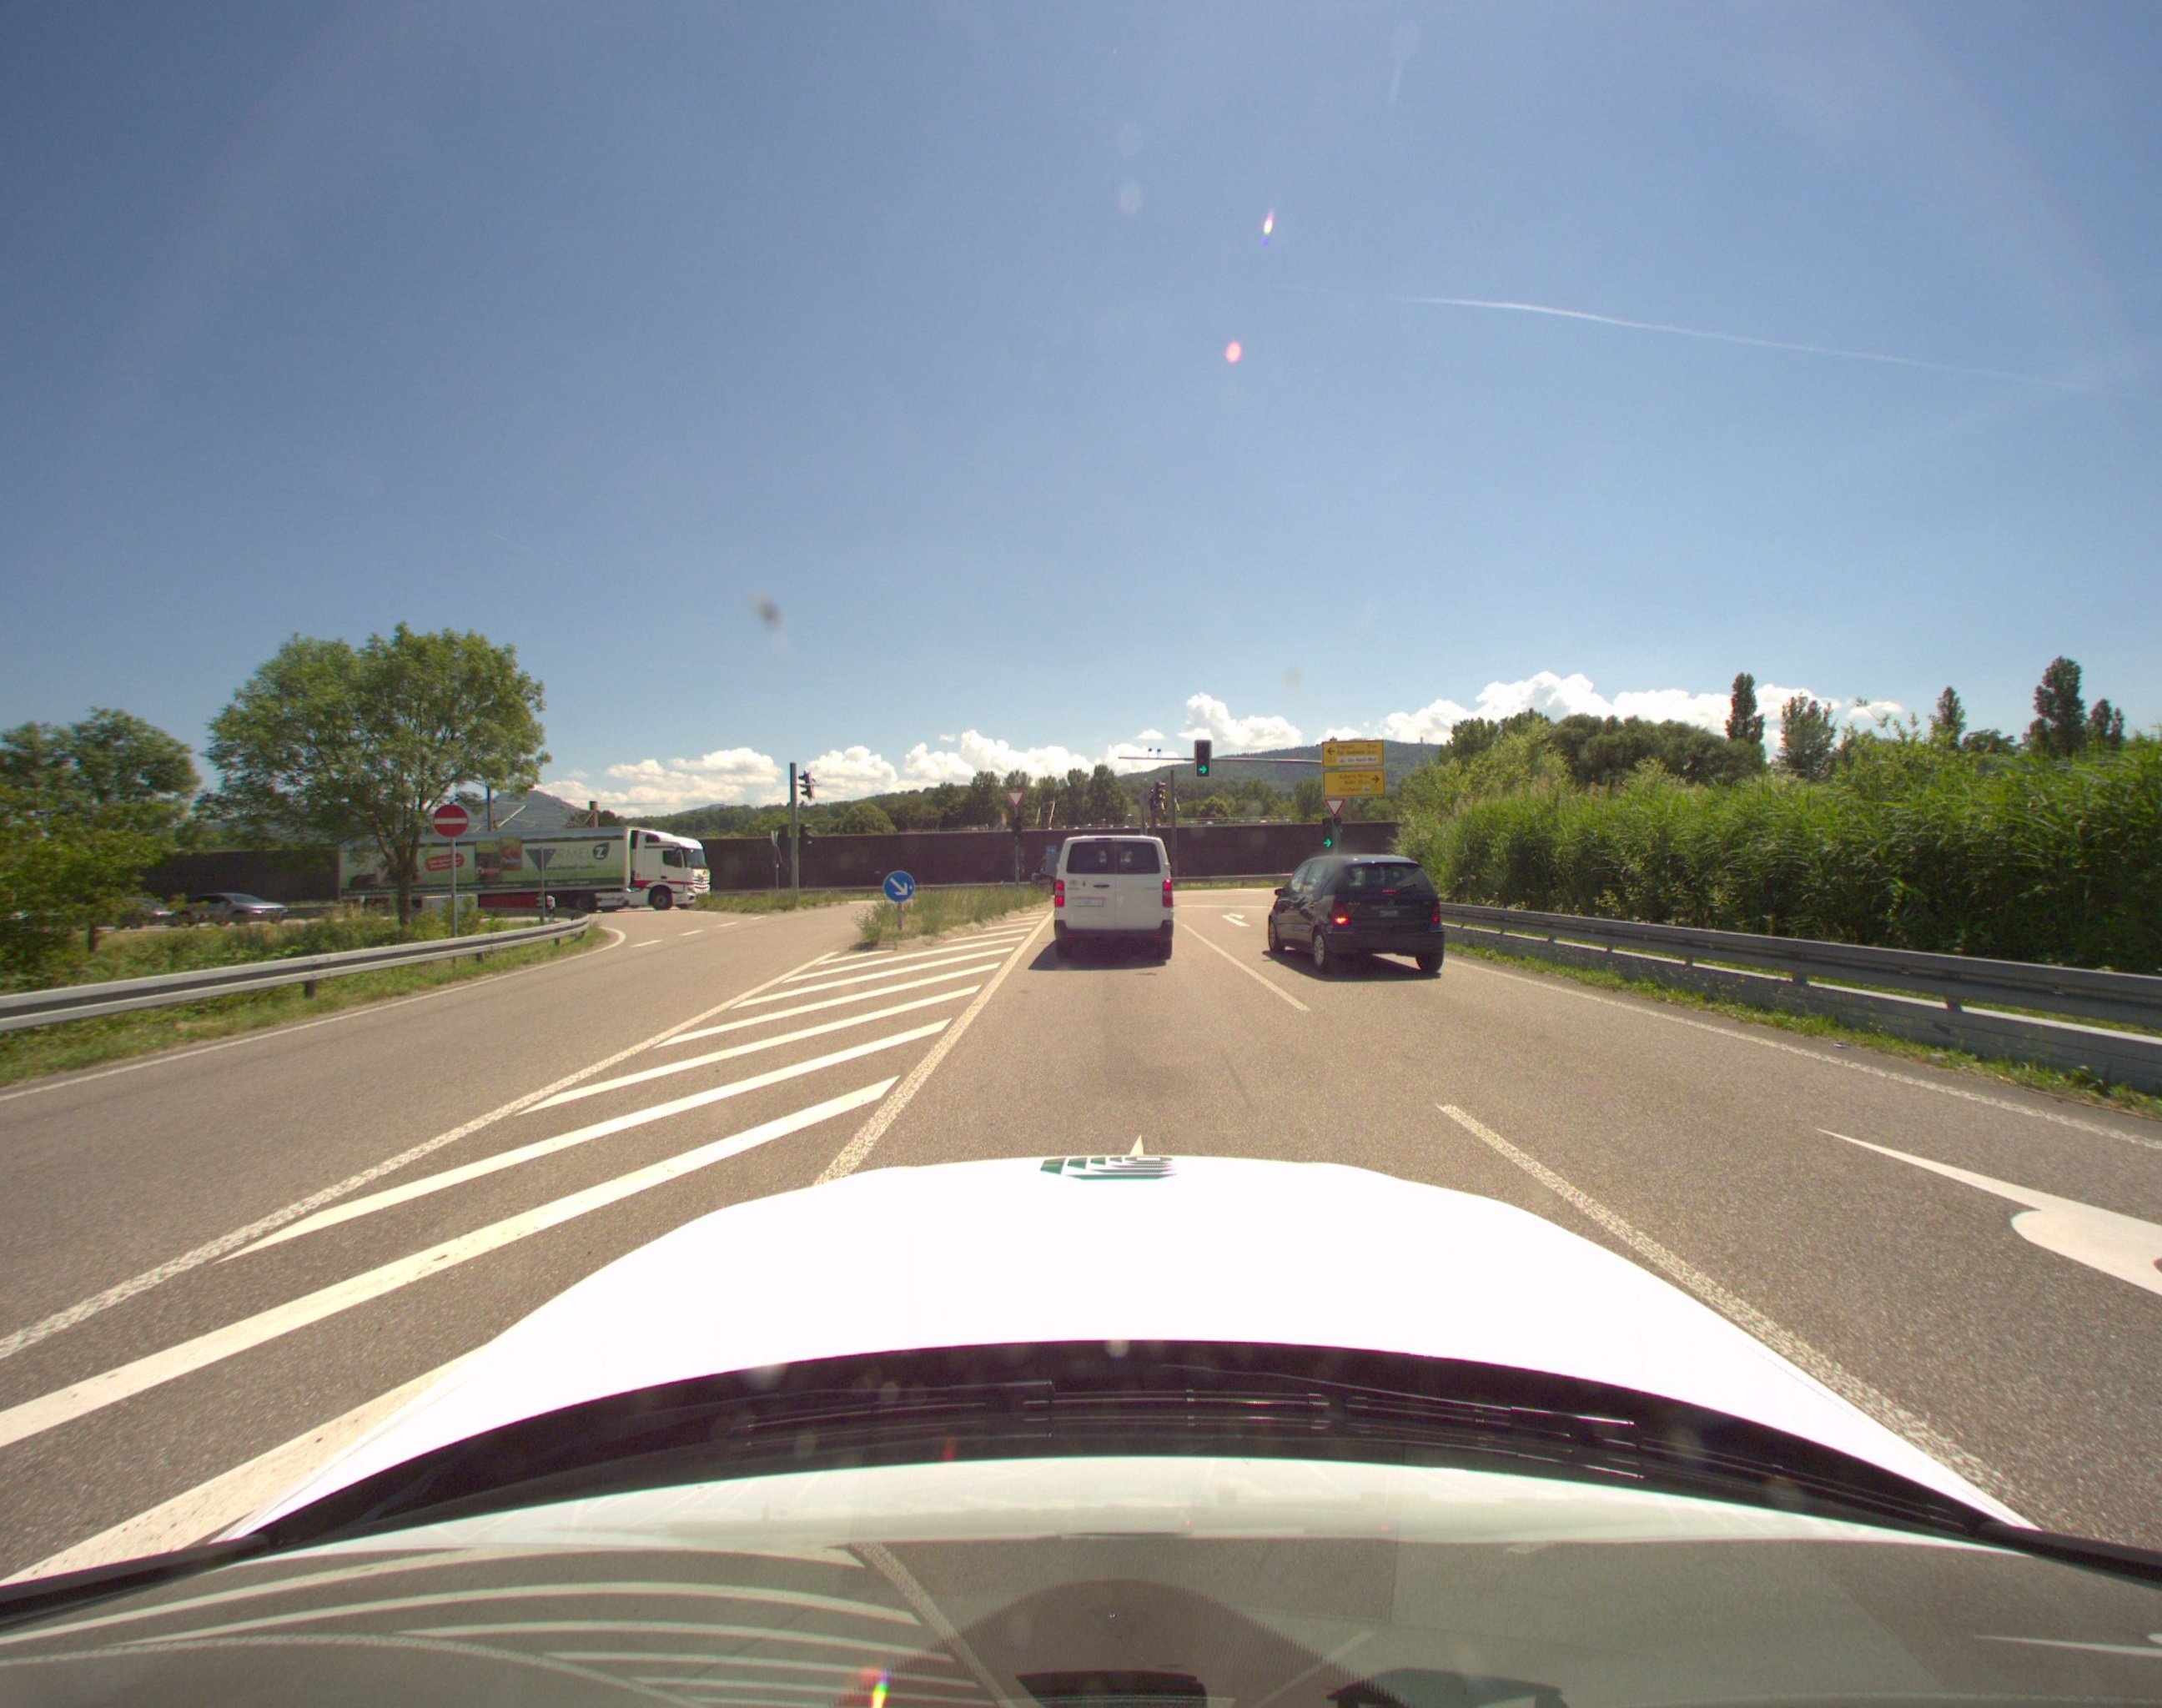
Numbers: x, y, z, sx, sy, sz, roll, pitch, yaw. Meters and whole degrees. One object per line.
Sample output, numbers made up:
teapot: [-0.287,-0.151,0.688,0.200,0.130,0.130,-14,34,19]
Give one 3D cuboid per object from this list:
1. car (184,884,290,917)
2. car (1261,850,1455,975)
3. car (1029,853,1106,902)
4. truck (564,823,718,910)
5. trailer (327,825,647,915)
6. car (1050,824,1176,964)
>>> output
car: [-40.662,2.234,39.284,3.462,1.464,1.554,-1,-1,0]
car: [3.955,0.765,12.247,1.663,1.600,3.551,0,-1,-1]
car: [-0.676,1.019,36.592,2.001,2.014,4.680,0,-1,-20]
truck: [-21.220,0.620,39.556,5.747,3.954,3.061,-1,-1,0]
trailer: [-28.478,0.743,39.473,13.099,3.954,3.061,-1,-1,-1]
car: [0.523,0.611,13.910,1.808,2.018,4.001,-1,-1,1]
